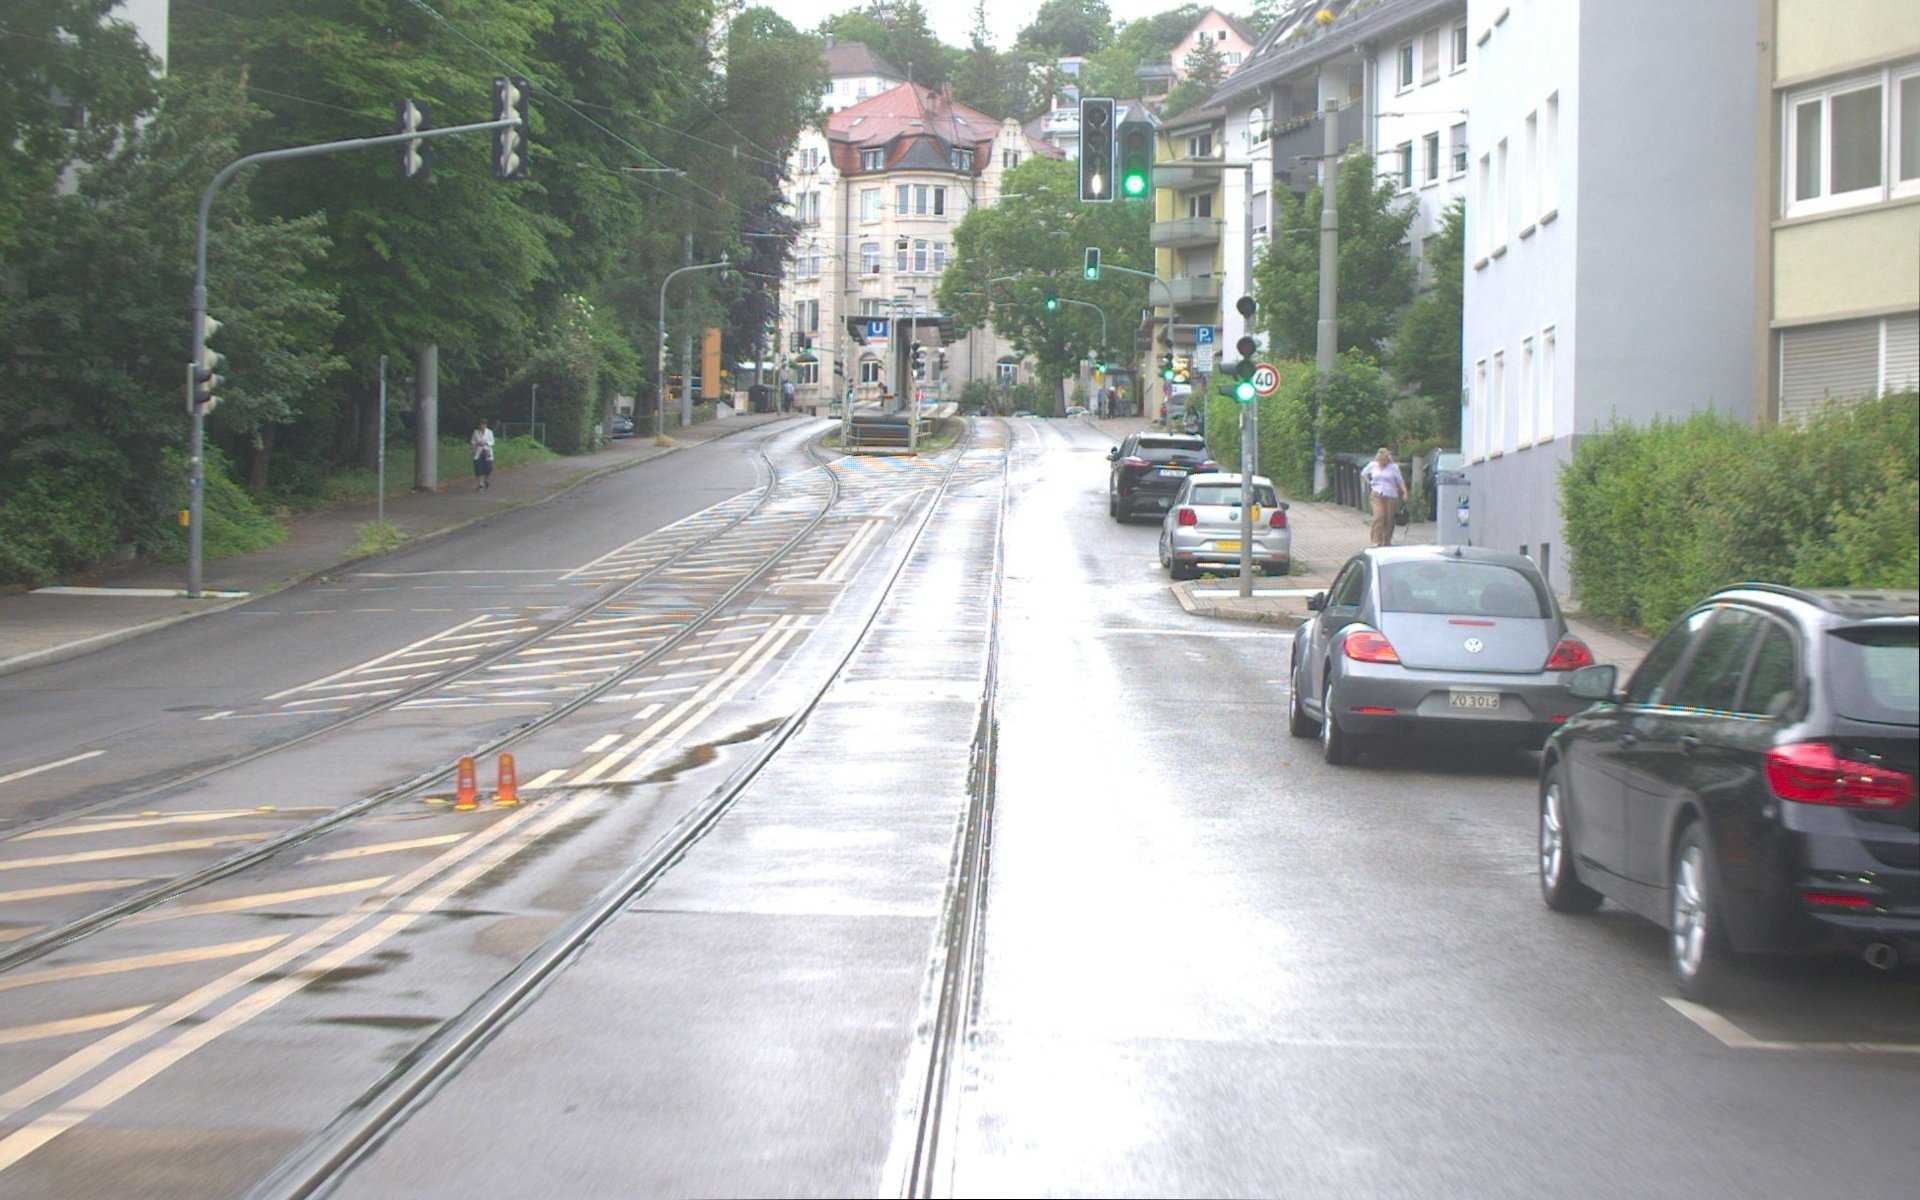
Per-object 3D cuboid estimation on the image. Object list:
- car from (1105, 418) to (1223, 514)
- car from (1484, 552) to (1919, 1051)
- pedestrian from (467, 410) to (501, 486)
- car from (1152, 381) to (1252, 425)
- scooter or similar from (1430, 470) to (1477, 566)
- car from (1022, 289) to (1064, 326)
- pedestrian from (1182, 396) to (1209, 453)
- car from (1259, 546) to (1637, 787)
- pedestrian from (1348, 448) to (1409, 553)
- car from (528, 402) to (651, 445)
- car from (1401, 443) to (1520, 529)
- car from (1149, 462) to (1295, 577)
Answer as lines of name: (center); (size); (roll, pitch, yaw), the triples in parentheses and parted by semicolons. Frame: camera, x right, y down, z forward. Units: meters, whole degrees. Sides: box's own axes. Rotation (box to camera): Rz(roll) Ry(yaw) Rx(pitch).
car: (3.842, -2.584, 65.416); (1.906, 1.636, 4.690); (2, 4, 0)
car: (3.299, 0.612, 12.944); (1.858, 1.482, 4.645); (2, 1, -1)
pedestrian: (-10.311, -3.296, 74.446); (0.583, 1.594, 0.869); (3, 3, -3)
car: (9.976, -8.116, 141.881); (3.987, 1.640, 1.808); (2, 2, 0)
scooter or similar: (7.127, -1.198, 49.737); (0.575, 1.245, 1.610); (2, 6, 6)
car: (4.071, -14.363, 168.981); (1.906, 1.636, 4.690); (2, 4, 0)
pedestrian: (6.793, -5.066, 99.112); (0.644, 1.623, 0.699); (2, 2, 10)
car: (3.326, 0.397, 24.255); (1.939, 1.459, 4.207); (2, 1, -1)
pedestrian: (6.529, -1.560, 53.685); (0.882, 1.577, 0.801); (0, 5, 3)
car: (-13.098, -6.233, 121.576); (3.992, 1.401, 1.680); (2, 0, 24)
car: (9.869, -2.230, 68.017); (1.720, 1.509, 4.204); (2, 0, 0)
car: (3.697, -1.184, 49.124); (1.704, 1.428, 4.102); (2, 4, 0)
